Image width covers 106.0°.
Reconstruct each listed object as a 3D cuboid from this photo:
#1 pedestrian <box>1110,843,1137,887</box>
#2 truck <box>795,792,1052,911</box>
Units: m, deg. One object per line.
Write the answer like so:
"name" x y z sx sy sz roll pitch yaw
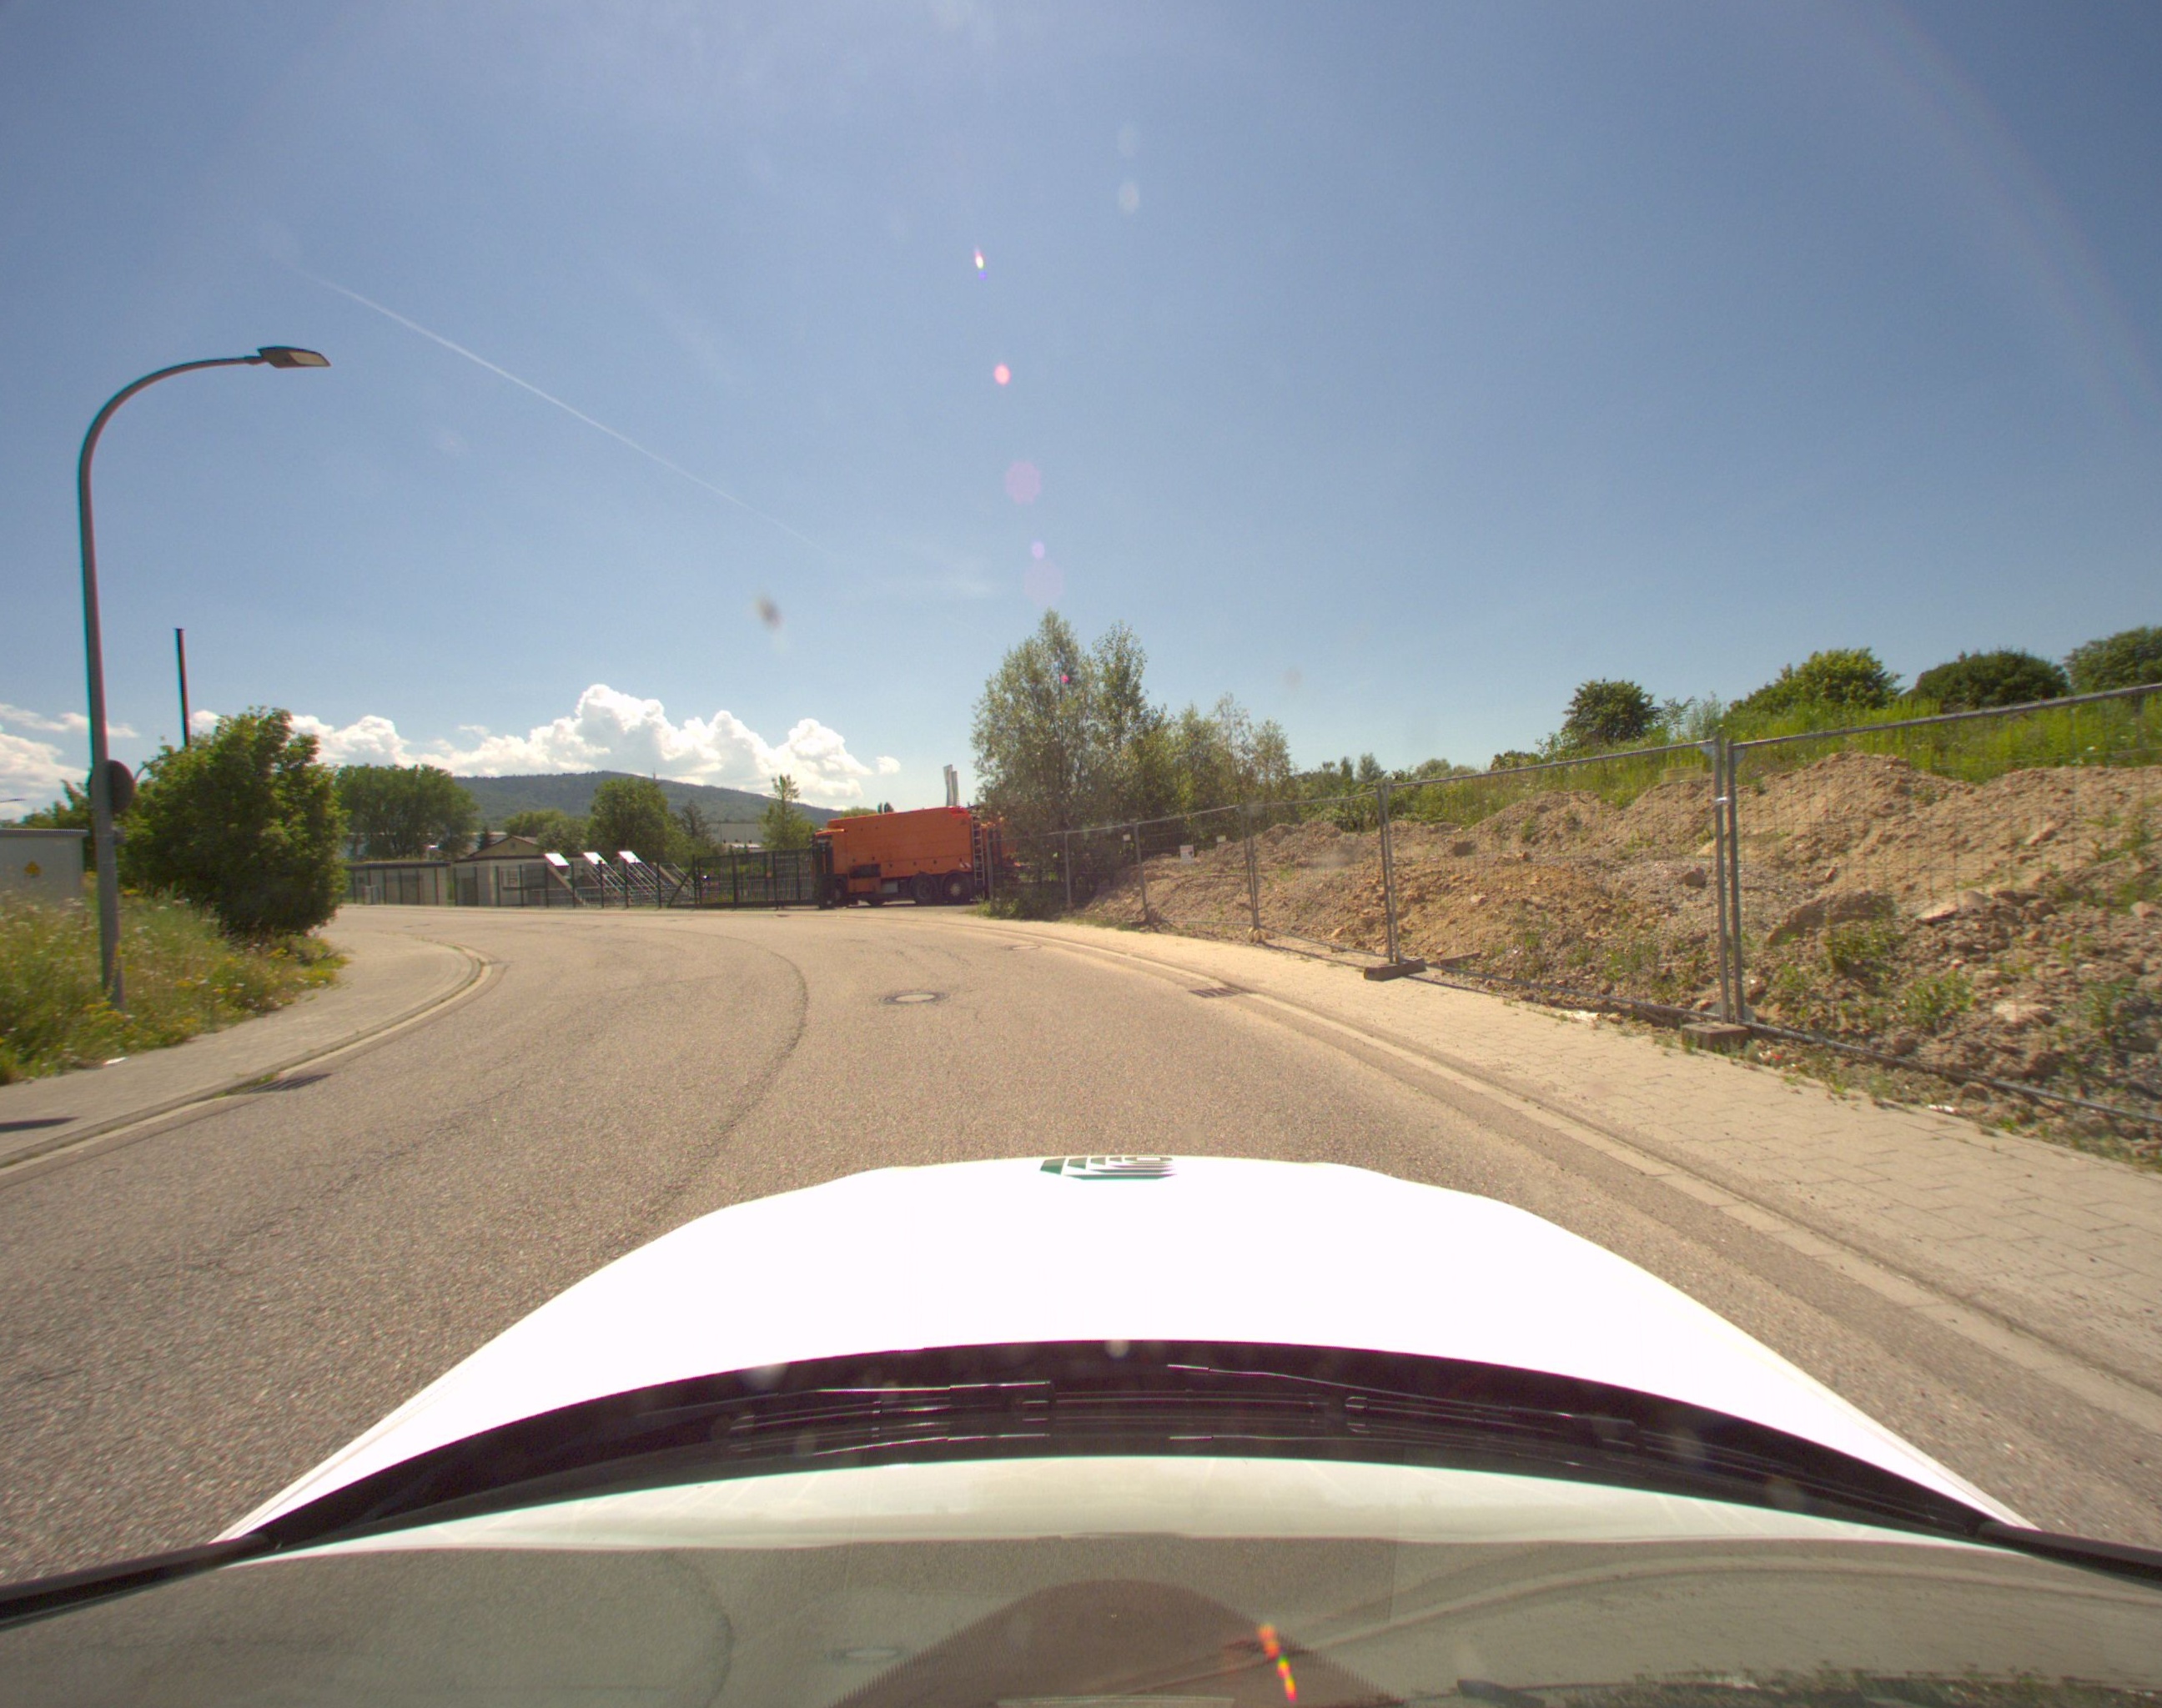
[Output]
"pedestrian" 1.863 0.471 35.383 0.868 1.824 0.744 -2 0 27
"truck" -5.954 -0.011 30.910 8.505 3.806 4.189 -3 0 25
